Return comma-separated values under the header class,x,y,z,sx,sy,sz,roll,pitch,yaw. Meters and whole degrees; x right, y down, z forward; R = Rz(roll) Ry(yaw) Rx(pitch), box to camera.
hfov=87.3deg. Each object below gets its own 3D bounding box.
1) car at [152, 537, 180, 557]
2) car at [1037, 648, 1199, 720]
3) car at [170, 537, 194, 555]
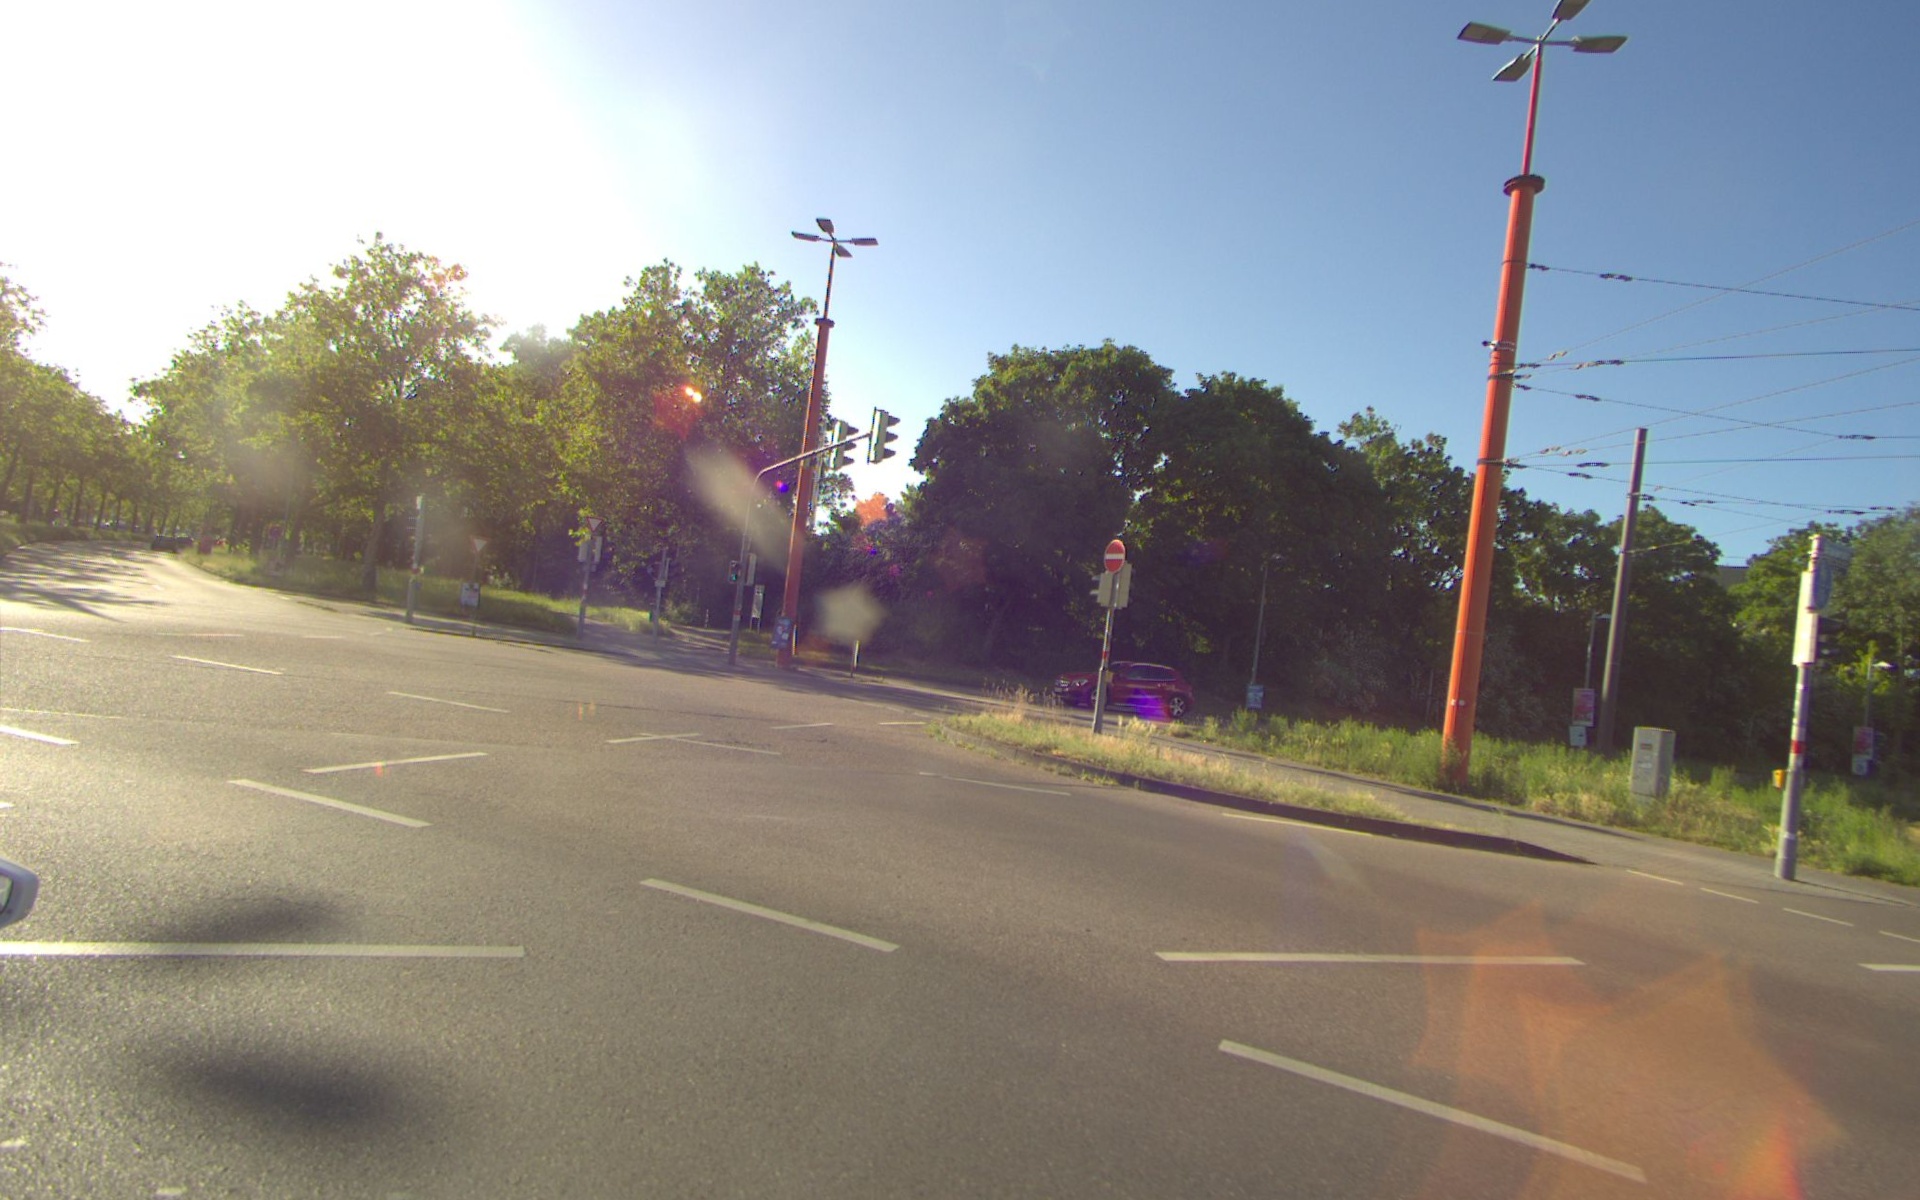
class,x,y,z,sx,sy,sz,roll,pitch,yaw
car,-70.772,-4.765,89.728,1.783,1.403,4.007,10,-3,-38
car,4.698,2.505,29.966,4.233,1.512,1.991,8,-2,-22
car,-89.554,-6.166,115.846,1.864,1.644,3.963,10,-4,-36
